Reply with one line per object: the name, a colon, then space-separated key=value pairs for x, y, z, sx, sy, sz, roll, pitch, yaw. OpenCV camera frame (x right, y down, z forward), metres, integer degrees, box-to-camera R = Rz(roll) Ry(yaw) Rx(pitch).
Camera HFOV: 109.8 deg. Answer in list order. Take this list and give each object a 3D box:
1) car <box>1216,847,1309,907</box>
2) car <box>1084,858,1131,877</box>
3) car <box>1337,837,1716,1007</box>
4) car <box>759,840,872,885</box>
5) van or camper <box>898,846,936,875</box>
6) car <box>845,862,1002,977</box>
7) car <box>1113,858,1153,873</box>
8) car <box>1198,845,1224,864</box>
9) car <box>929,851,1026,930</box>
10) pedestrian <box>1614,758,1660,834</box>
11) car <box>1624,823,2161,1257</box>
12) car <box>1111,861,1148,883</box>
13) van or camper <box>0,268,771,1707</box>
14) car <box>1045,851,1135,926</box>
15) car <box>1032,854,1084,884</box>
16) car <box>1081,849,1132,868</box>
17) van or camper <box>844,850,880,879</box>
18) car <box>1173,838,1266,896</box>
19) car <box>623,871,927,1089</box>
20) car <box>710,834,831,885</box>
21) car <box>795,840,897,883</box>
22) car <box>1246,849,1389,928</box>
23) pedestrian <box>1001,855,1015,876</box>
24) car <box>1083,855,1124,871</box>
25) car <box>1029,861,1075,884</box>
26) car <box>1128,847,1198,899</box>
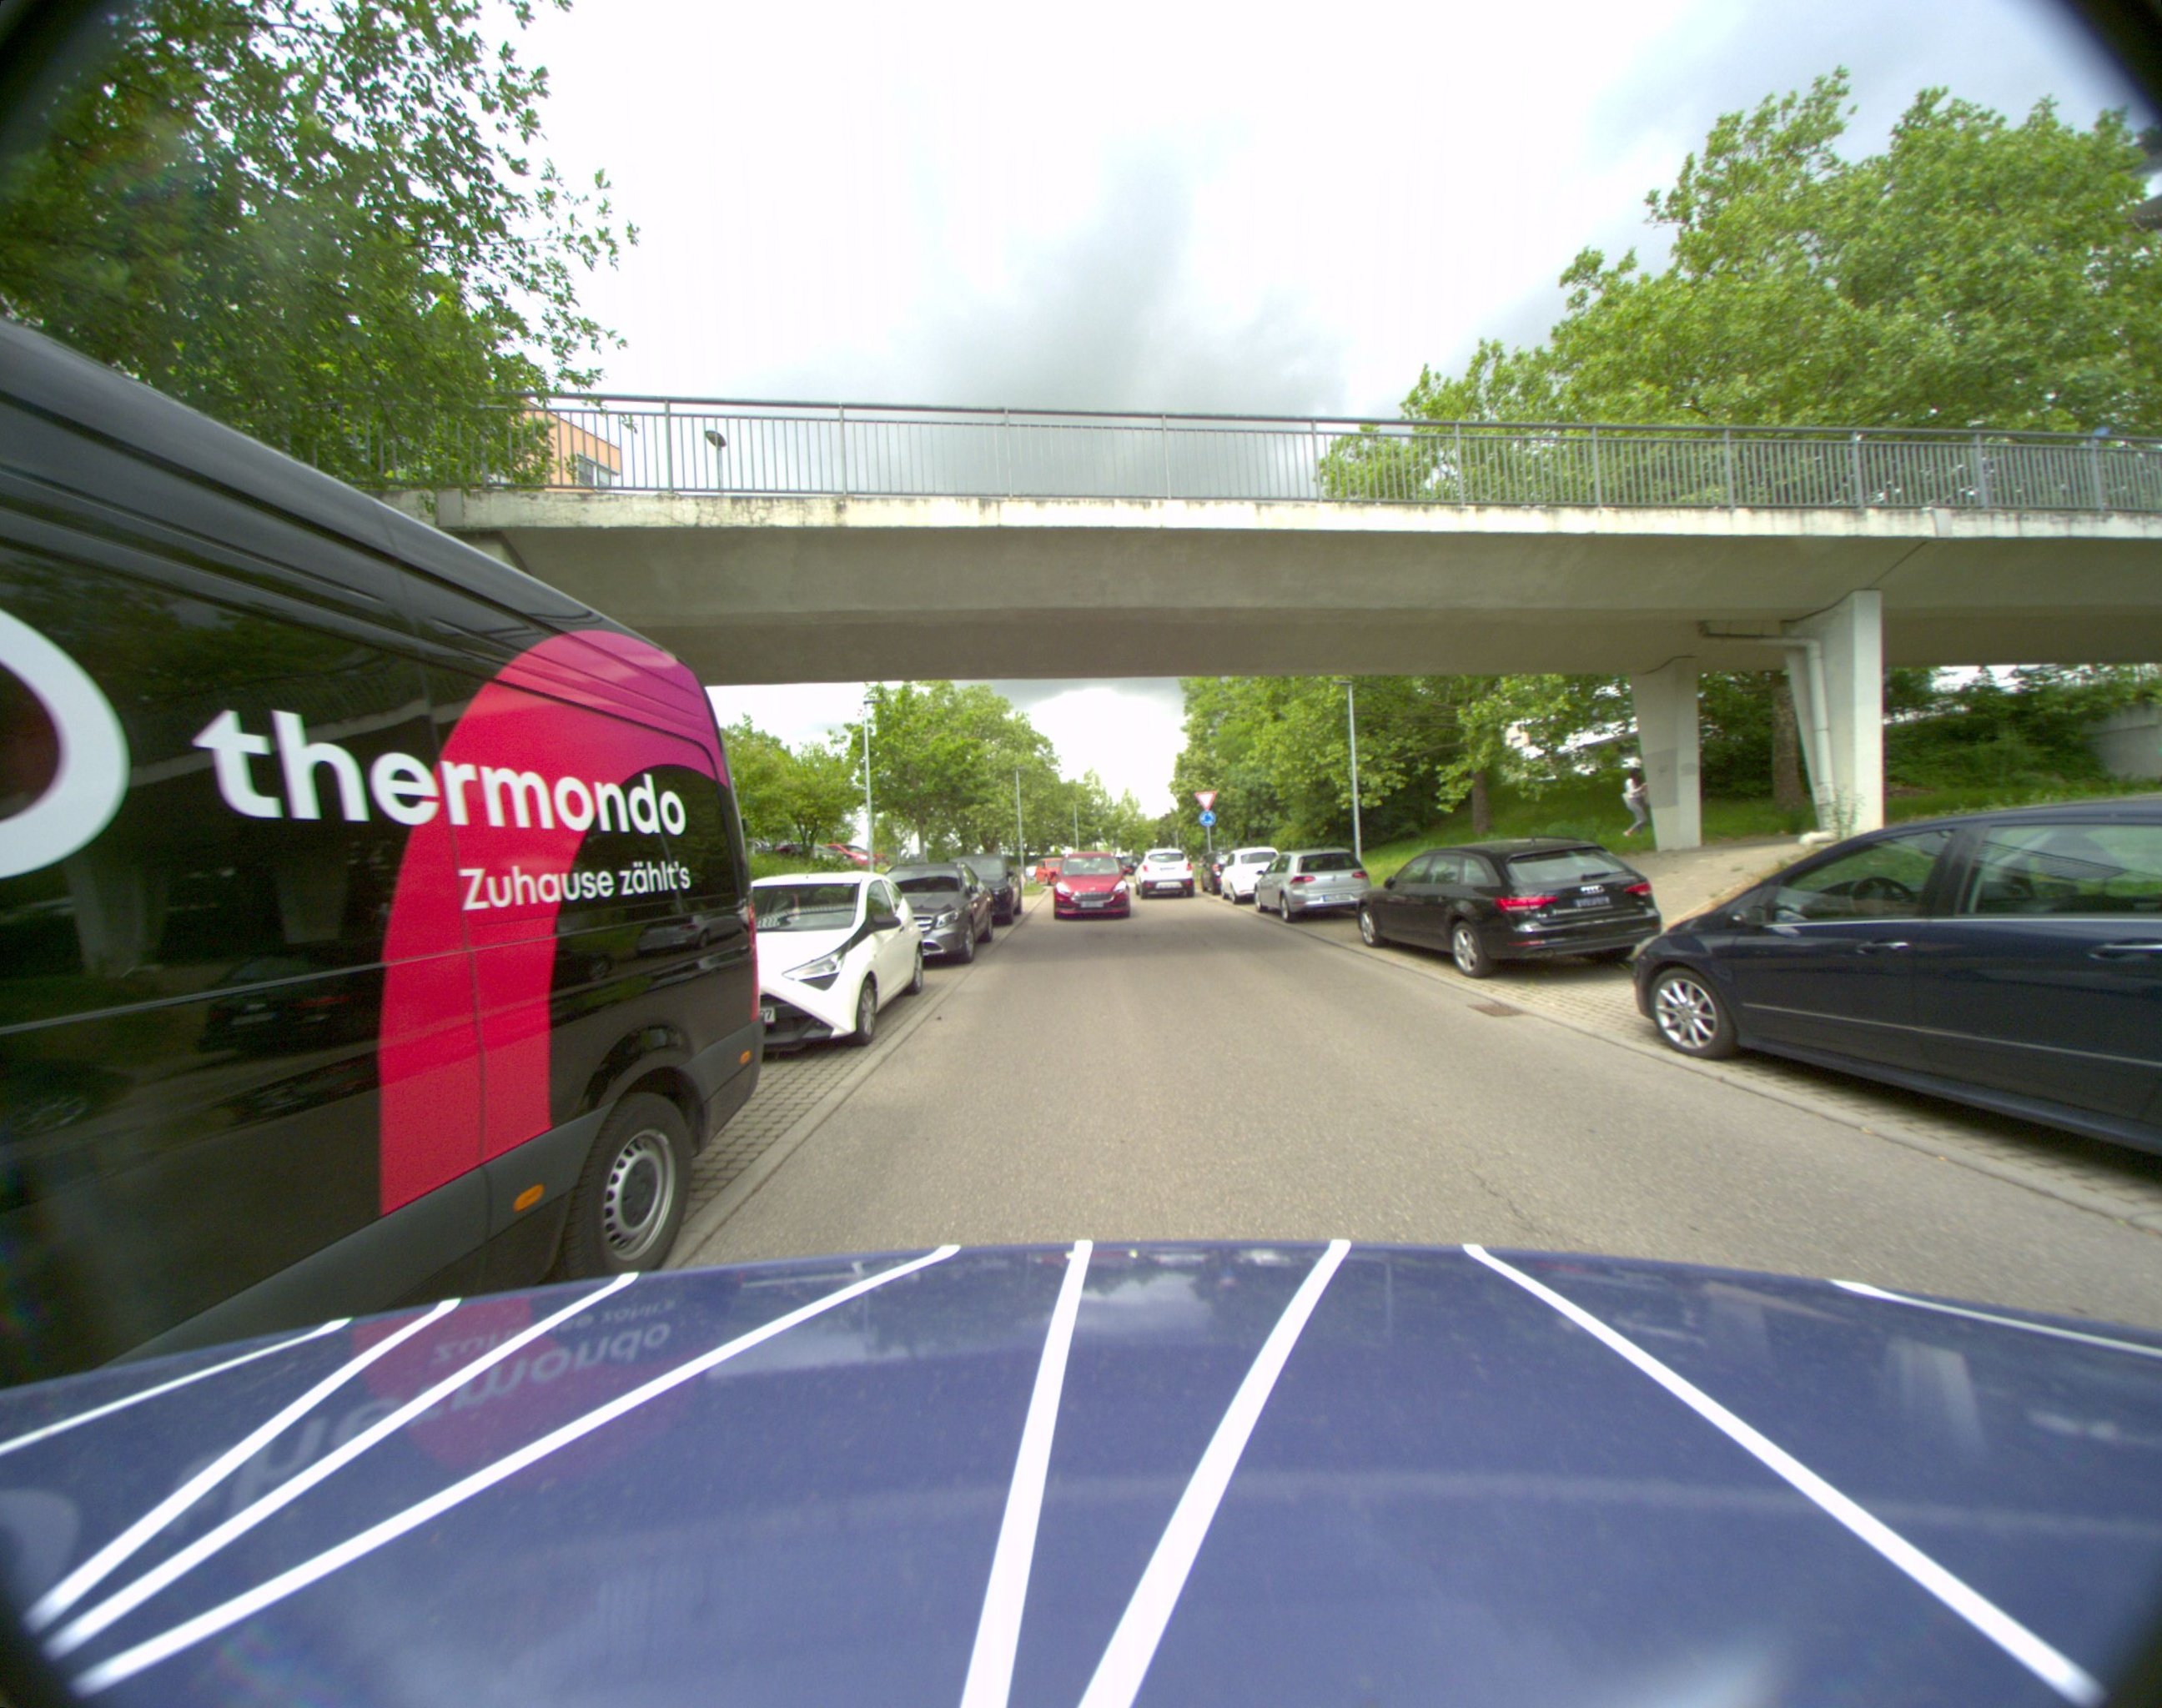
car: x=5.091 y=0.597 z=21.792 sx=1.889 sy=1.452 sz=3.546 roll=-3 pitch=1 yaw=2
car: x=2.589 y=1.288 z=73.754 sx=4.156 sy=1.592 sz=1.741 roll=-4 pitch=-1 yaw=16
car: x=5.046 y=0.657 z=9.517 sx=1.890 sy=1.500 sz=4.451 roll=-4 pitch=0 yaw=-3
car: x=-9.998 y=0.338 z=28.652 sx=3.791 sy=1.413 sz=1.687 roll=-4 pitch=-1 yaw=23
van or camper: x=-17.312 y=0.675 z=80.108 sx=2.118 sy=2.781 sz=4.470 roll=-3 pitch=-1 yaw=-36
car: x=-2.427 y=0.942 z=12.731 sx=1.704 sy=1.488 sz=4.118 roll=-2 pitch=0 yaw=0
car: x=5.580 y=1.215 z=81.284 sx=3.829 sy=1.511 sz=1.914 roll=-2 pitch=0 yaw=16
car: x=12.074 y=0.041 z=70.401 sx=1.692 sy=1.456 sz=4.462 roll=-7 pitch=-2 yaw=17
car: x=-2.405 y=0.812 z=18.665 sx=1.818 sy=1.668 sz=4.370 roll=-2 pitch=0 yaw=-1
pedestrian: x=13.206 y=-1.351 z=18.068 sx=0.658 sy=1.711 sz=0.741 roll=-4 pitch=-1 yaw=27
car: x=4.922 y=0.668 z=3.590 sx=1.889 sy=1.550 sz=3.837 roll=-4 pitch=0 yaw=0
car: x=4.022 y=1.423 z=62.618 sx=1.756 sy=1.607 sz=4.006 roll=-4 pitch=-1 yaw=22
van or camper: x=-2.582 y=0.402 z=1.015 sx=1.998 sy=2.508 sz=5.470 roll=-1 pitch=1 yaw=0
car: x=0.288 y=0.787 z=19.333 sx=1.978 sy=1.635 sz=4.537 roll=-2 pitch=0 yaw=2
car: x=-1.320 y=0.874 z=42.046 sx=1.761 sy=1.506 sz=3.995 roll=-3 pitch=-1 yaw=-17
car: x=2.559 y=0.448 z=76.374 sx=4.780 sy=1.821 sz=1.845 roll=-2 pitch=0 yaw=16
van or camper: x=-23.094 y=1.108 z=80.178 sx=2.118 sy=2.781 sz=4.470 roll=-3 pitch=-1 yaw=-36
car: x=4.730 y=0.536 z=26.522 sx=1.792 sy=1.458 sz=4.001 roll=-8 pitch=-5 yaw=-9
car: x=-2.590 y=0.962 z=7.268 sx=1.566 sy=1.487 sz=3.330 roll=-2 pitch=0 yaw=-1
car: x=-10.741 y=0.206 z=26.303 sx=3.654 sy=1.489 sz=1.687 roll=-4 pitch=-1 yaw=23
car: x=-9.489 y=0.311 z=30.701 sx=3.654 sy=1.430 sz=1.687 roll=-4 pitch=-1 yaw=23
car: x=5.011 y=0.660 z=16.697 sx=1.889 sy=1.419 sz=4.000 roll=-4 pitch=0 yaw=1
pedestrian: x=-5.966 y=0.956 z=61.931 sx=0.870 sy=1.647 sz=0.594 roll=-4 pitch=-1 yaw=16
car: x=2.109 y=0.874 z=71.445 sx=3.516 sy=1.453 sz=1.741 roll=-1 pitch=0 yaw=17
car: x=-2.036 y=1.309 z=55.117 sx=1.756 sy=1.506 sz=4.006 roll=-4 pitch=-1 yaw=22
car: x=2.768 y=0.618 z=26.370 sx=1.752 sy=1.601 sz=4.051 roll=-2 pitch=0 yaw=-3
